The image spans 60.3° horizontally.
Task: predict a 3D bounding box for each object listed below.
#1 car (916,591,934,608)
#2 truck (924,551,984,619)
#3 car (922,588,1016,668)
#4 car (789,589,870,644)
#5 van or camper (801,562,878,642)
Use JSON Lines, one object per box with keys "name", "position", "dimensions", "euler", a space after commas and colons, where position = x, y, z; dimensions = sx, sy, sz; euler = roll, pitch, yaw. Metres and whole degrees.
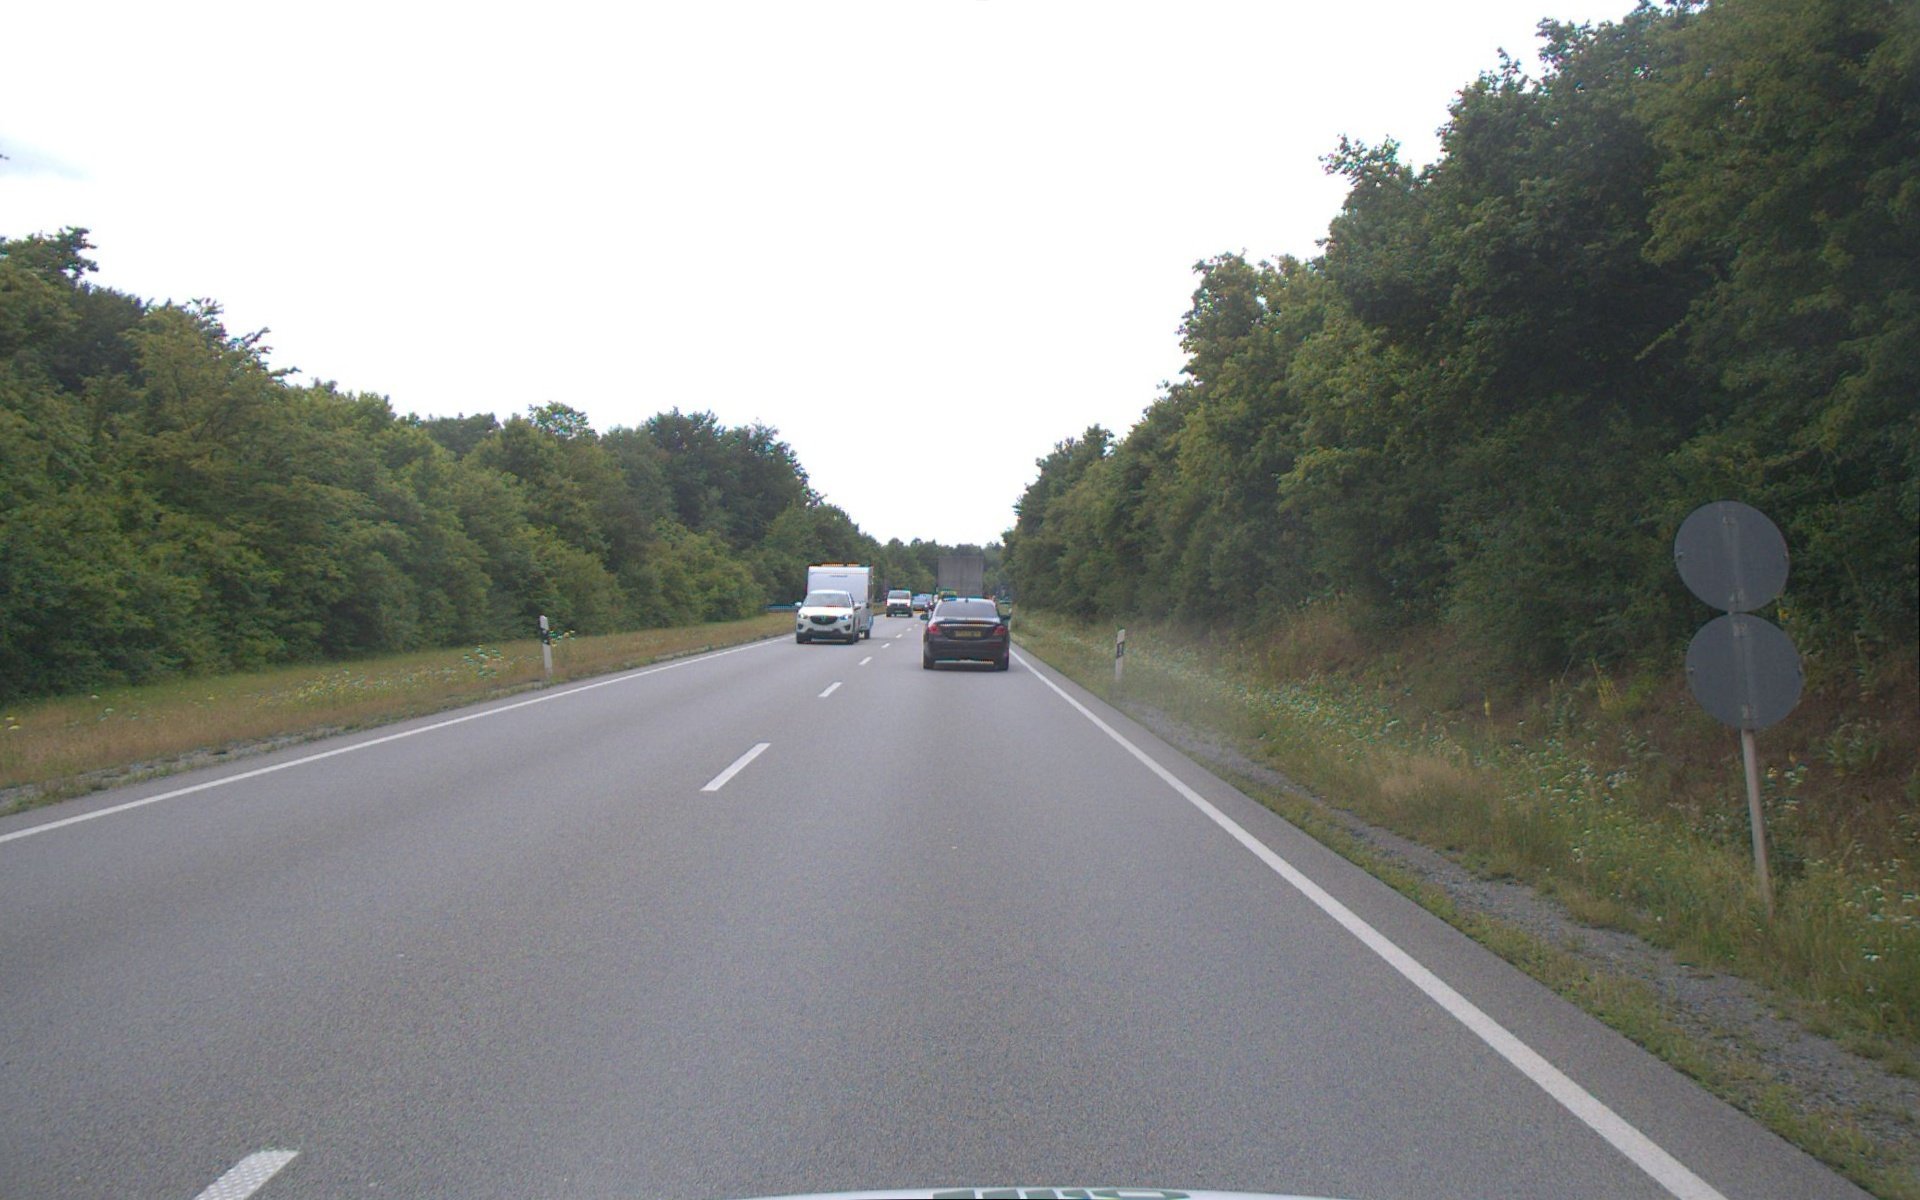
{"name": "car", "position": [-3.308, -0.053, 156.909], "dimensions": [1.653, 1.505, 4.456], "euler": [1, 0, 0]}
{"name": "truck", "position": [-0.262, -0.810, 96.174], "dimensions": [3.213, 3.675, 11.400], "euler": [1, 0, 1]}
{"name": "car", "position": [0.145, 0.564, 35.405], "dimensions": [1.756, 1.579, 3.997], "euler": [1, 0, -3]}
{"name": "car", "position": [-4.114, 0.505, 52.927], "dimensions": [2.232, 1.631, 4.691], "euler": [1, 0, -1]}
{"name": "van or camper", "position": [-4.184, 0.066, 58.506], "dimensions": [2.331, 2.620, 6.278], "euler": [1, 0, -1]}
